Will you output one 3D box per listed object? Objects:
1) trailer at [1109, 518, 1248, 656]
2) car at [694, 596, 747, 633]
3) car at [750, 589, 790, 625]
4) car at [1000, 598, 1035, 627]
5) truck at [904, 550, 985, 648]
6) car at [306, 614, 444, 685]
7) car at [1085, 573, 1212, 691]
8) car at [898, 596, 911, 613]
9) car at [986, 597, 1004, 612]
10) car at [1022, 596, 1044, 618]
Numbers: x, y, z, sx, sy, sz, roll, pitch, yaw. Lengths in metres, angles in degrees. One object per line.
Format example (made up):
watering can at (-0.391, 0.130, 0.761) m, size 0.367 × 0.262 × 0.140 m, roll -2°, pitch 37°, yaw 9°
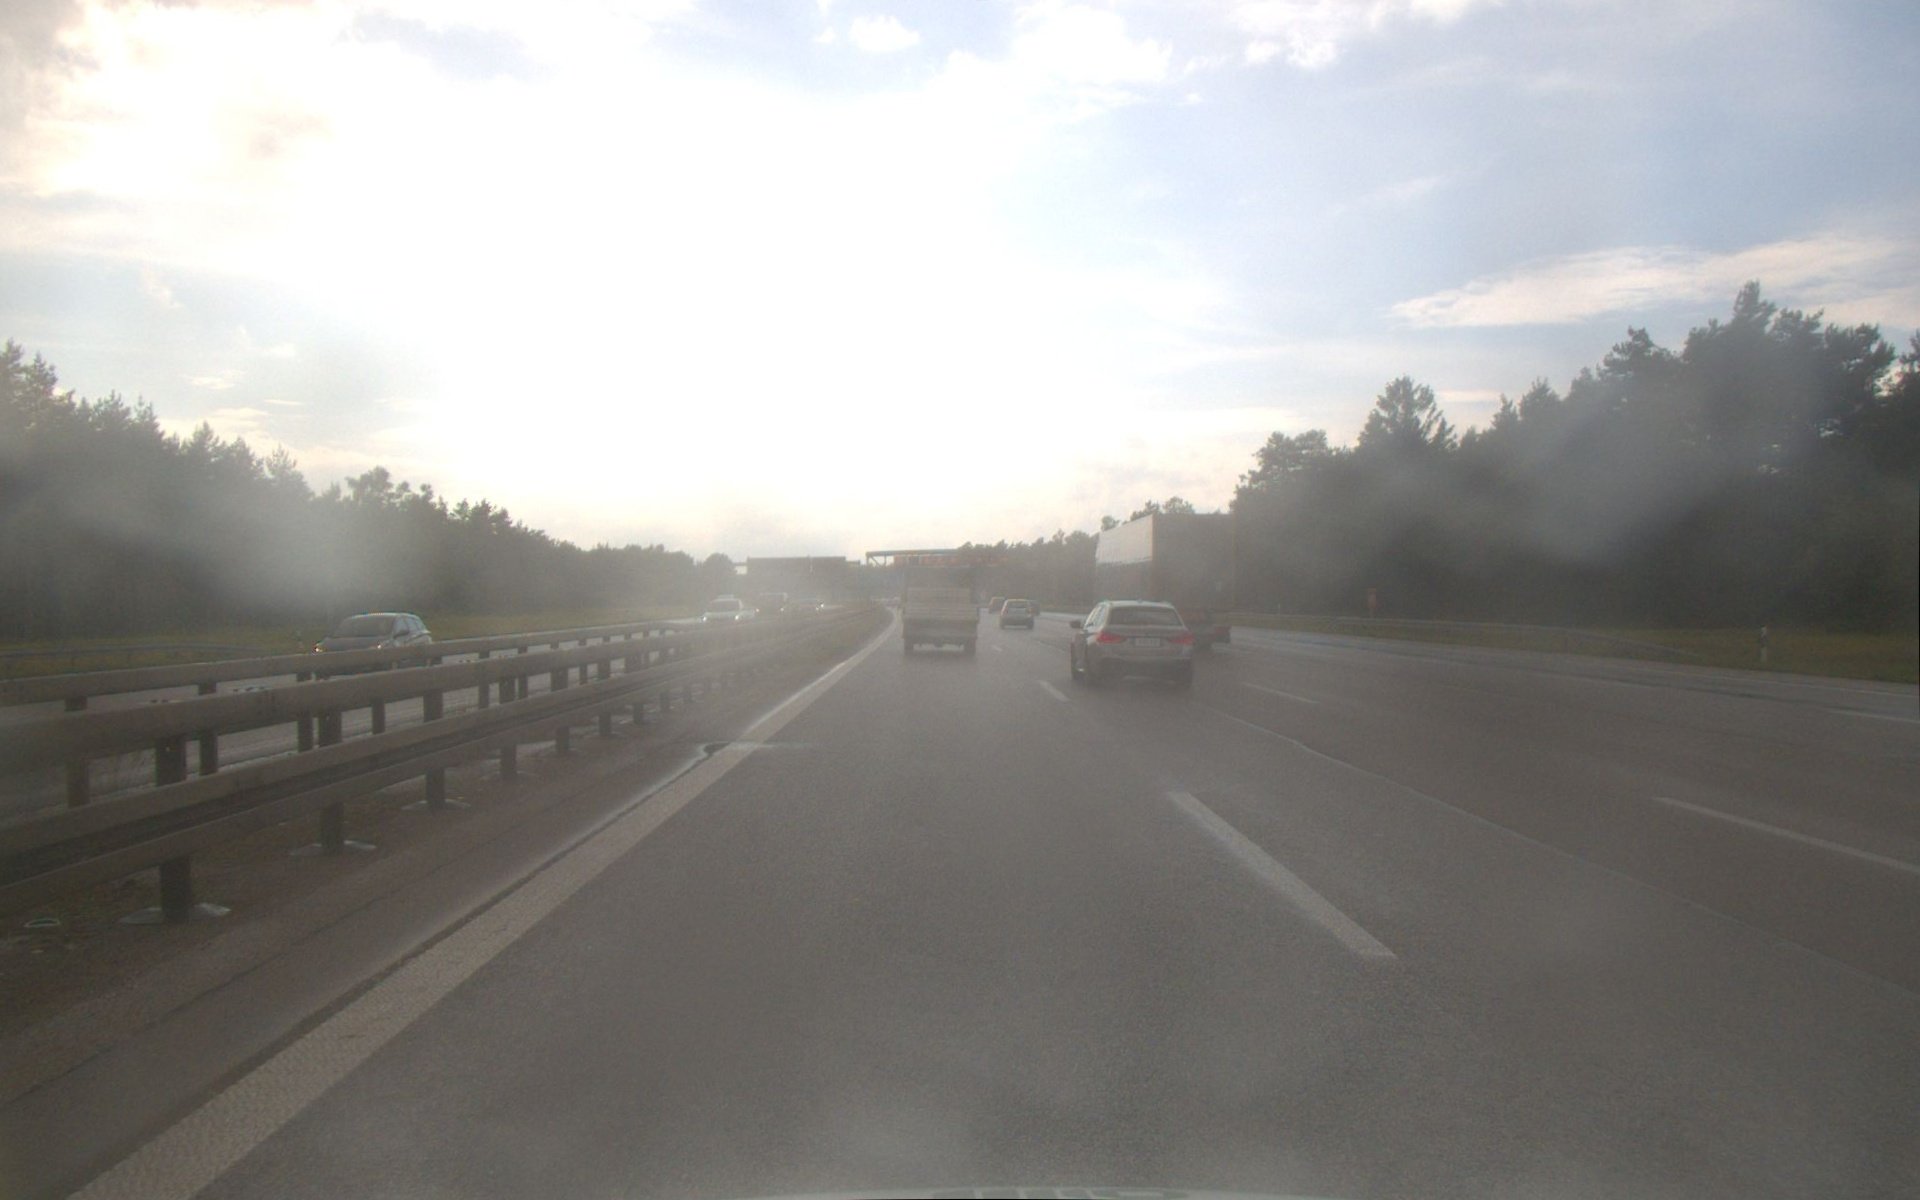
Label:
trailer at (7.103, -0.394, 55.858) m, size 2.277 × 4.071 × 13.404 m, roll 0°, pitch 0°, yaw -3°
car at (-10.805, 0.640, 74.742) m, size 1.822 × 1.616 × 4.489 m, roll -1°, pitch 0°, yaw -1°
car at (-11.227, 0.403, 97.920) m, size 1.953 × 2.049 × 4.625 m, roll -1°, pitch 0°, yaw -2°
car at (3.037, 0.631, 87.437) m, size 1.793 × 1.492 × 4.001 m, roll 1°, pitch 0°, yaw 1°
truck at (-0.431, -0.032, 45.627) m, size 2.094 × 2.532 × 5.312 m, roll 0°, pitch 0°, yaw -1°
car at (-13.687, 1.129, 38.962) m, size 1.775 × 1.447 × 4.235 m, roll -3°, pitch 0°, yaw -1°
car at (3.294, 0.516, 29.803) m, size 2.034 × 1.918 × 5.014 m, roll 1°, pitch 0°, yaw 4°
car at (-7.243, 0.583, 215.903) m, size 1.585 × 2.049 × 3.997 m, roll 1°, pitch 0°, yaw -3°
car at (3.857, 0.482, 183.082) m, size 1.706 × 1.718 × 3.998 m, roll 0°, pitch 0°, yaw -3°
car at (7.034, 0.656, 159.979) m, size 1.953 × 2.049 × 4.000 m, roll 1°, pitch 0°, yaw 0°
